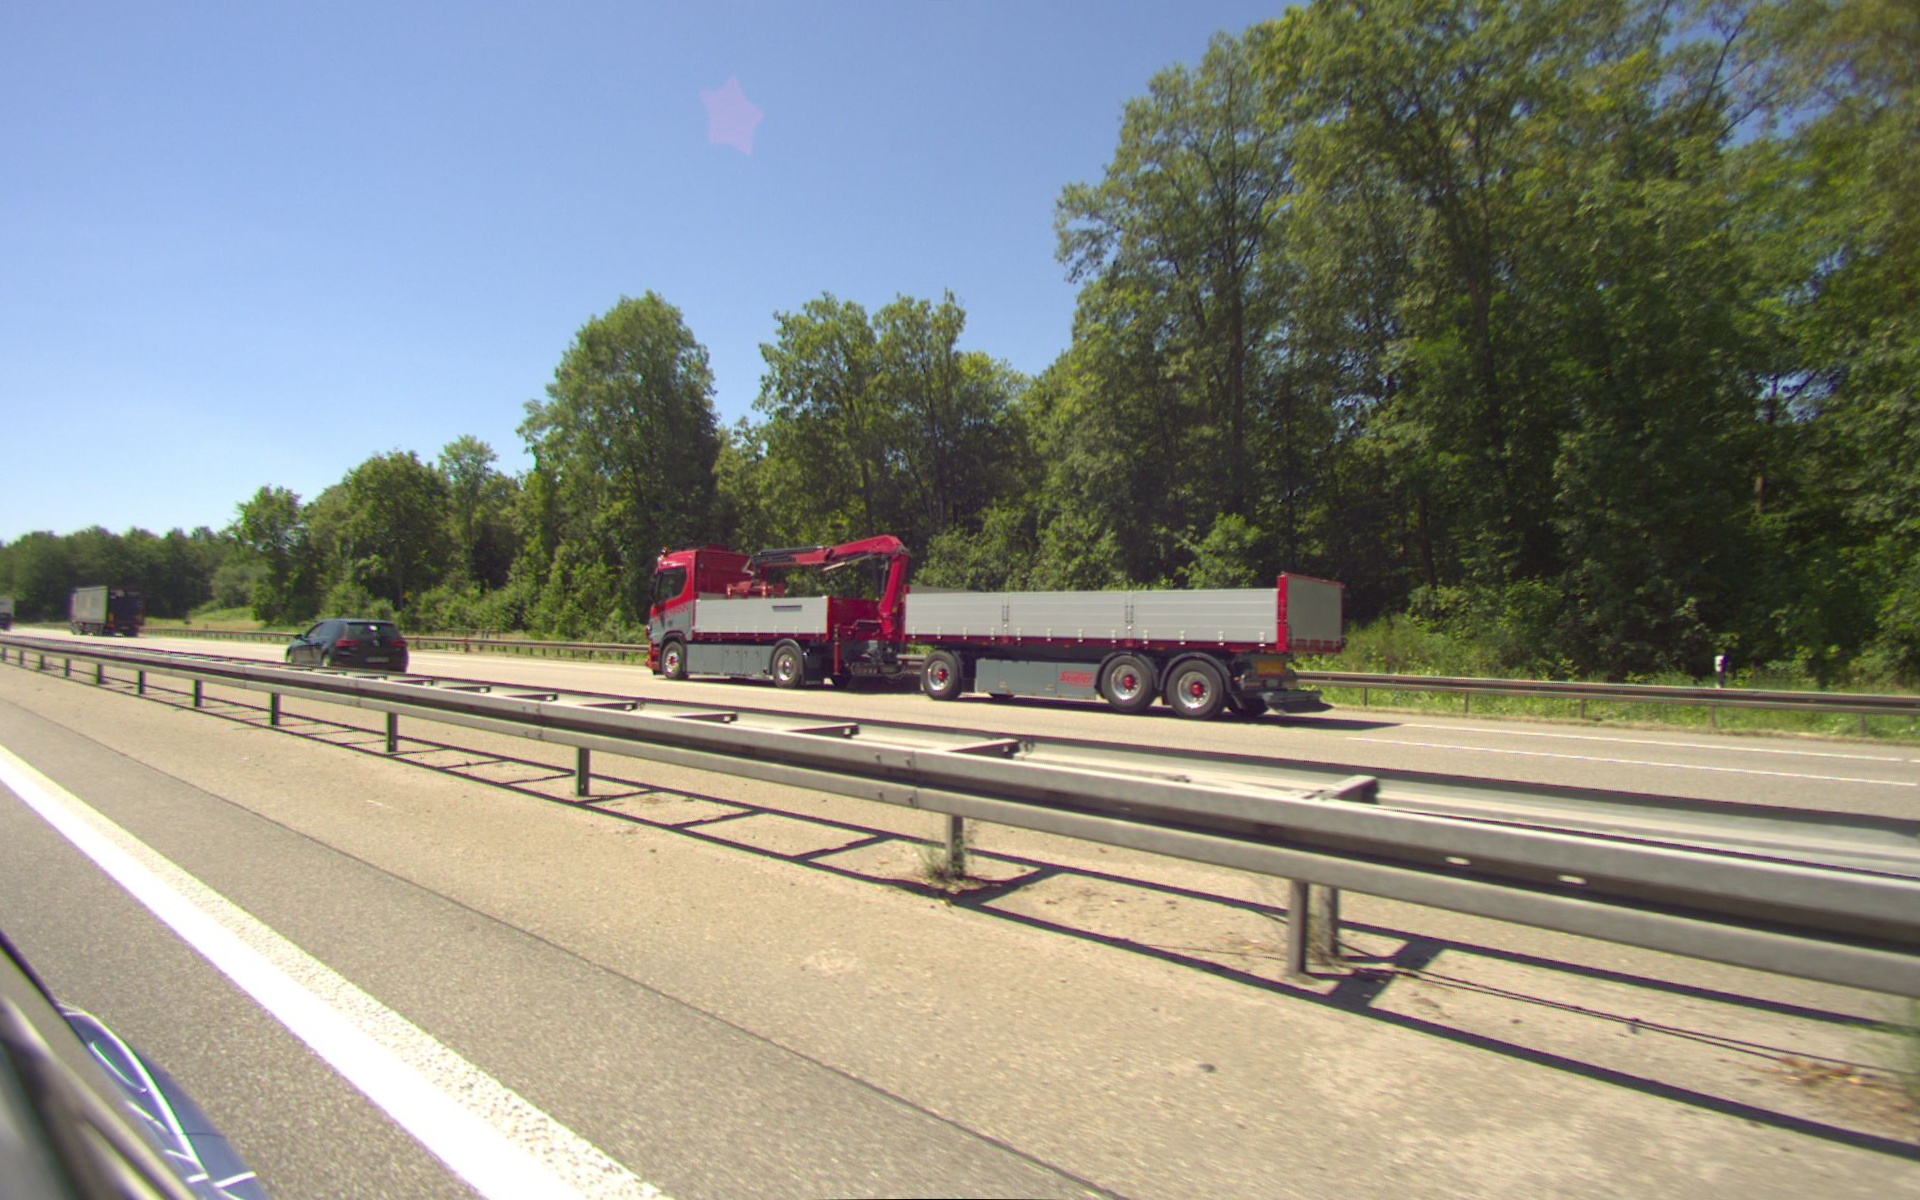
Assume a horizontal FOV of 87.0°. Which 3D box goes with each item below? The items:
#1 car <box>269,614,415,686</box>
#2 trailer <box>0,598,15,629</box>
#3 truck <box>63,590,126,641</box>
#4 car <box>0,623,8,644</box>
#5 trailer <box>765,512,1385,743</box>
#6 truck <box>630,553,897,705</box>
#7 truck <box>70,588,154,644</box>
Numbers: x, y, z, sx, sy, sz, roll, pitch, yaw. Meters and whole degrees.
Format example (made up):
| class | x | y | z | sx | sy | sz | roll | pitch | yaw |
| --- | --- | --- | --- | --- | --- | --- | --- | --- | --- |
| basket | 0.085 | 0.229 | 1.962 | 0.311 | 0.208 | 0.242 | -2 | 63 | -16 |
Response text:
| class | x | y | z | sx | sy | sz | roll | pitch | yaw |
| --- | --- | --- | --- | --- | --- | --- | --- | --- | --- |
| car | -15.391 | 1.162 | 25.109 | 4.667 | 1.603 | 1.788 | -1 | 0 | 41 |
| trailer | -126.624 | 1.799 | 132.832 | 8.547 | 4.019 | 2.554 | -1 | 0 | 38 |
| truck | -77.221 | 1.339 | 90.282 | 6.609 | 4.374 | 3.289 | -1 | 0 | 41 |
| car | -97.734 | 3.361 | 101.978 | 5.356 | 2.029 | 1.973 | -1 | -4 | 41 |
| trailer | 1.285 | 0.441 | 20.453 | 13.284 | 3.419 | 2.750 | -1 | 0 | 41 |
| truck | -5.304 | 0.674 | 26.313 | 7.658 | 3.419 | 2.720 | -1 | 0 | 41 |
| truck | -72.058 | 1.291 | 85.836 | 13.902 | 4.374 | 3.289 | -1 | 0 | 41 |
